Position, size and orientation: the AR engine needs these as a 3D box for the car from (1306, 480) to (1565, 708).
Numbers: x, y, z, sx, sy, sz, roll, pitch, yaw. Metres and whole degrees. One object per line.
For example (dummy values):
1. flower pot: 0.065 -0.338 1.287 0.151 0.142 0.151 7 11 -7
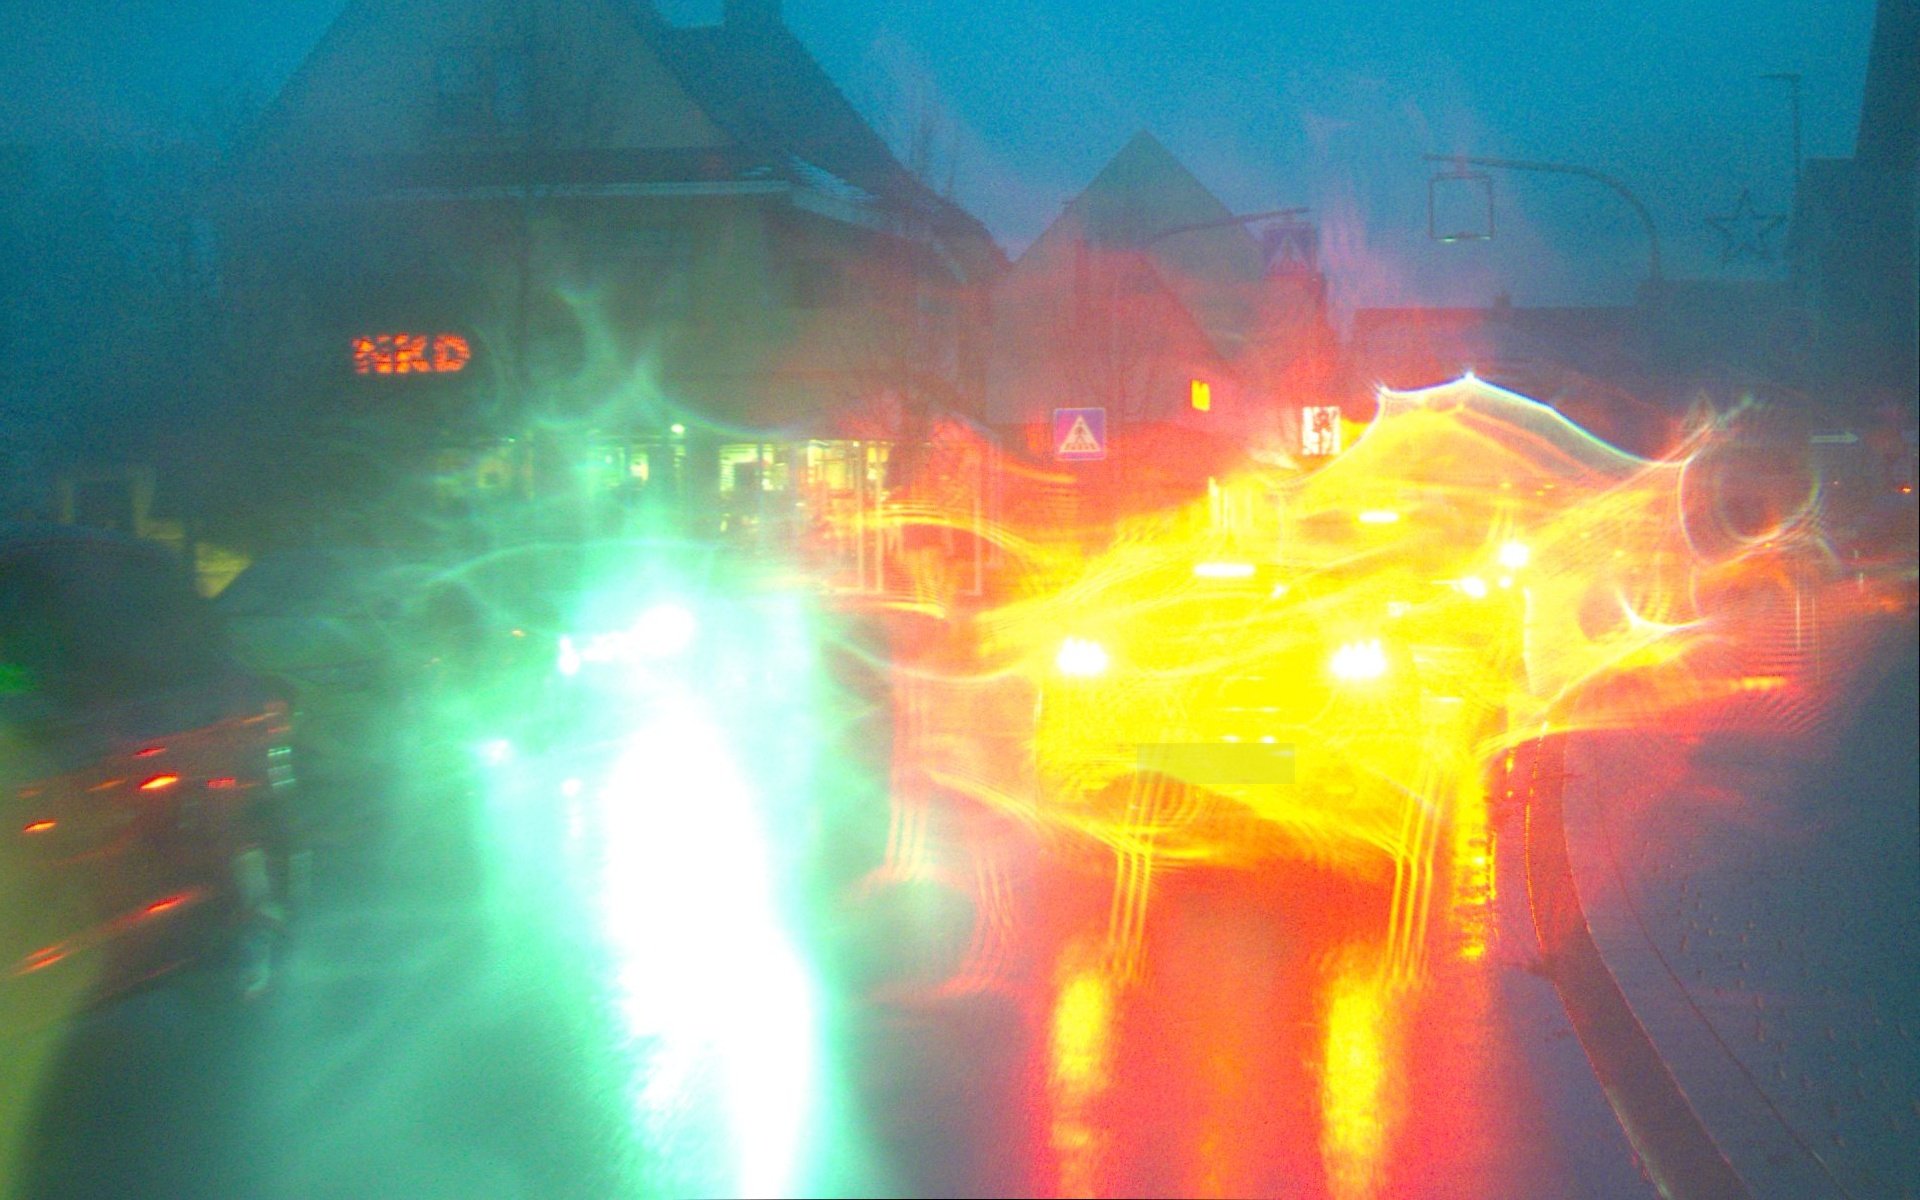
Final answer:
1. car: 3.830 -0.077 27.187 1.798 1.656 3.998 0 1 11

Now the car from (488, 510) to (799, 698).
1. car: -2.706 -0.012 30.251 1.670 1.511 3.998 1 1 11

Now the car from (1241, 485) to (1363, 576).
1. car: 6.923 -1.397 69.197 1.994 1.746 4.359 0 1 12

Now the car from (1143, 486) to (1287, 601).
1. car: 4.681 -1.041 62.578 1.995 2.007 4.359 0 1 13

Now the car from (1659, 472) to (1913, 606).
1. car: 12.658 -0.940 52.716 3.699 2.007 1.688 1 1 14

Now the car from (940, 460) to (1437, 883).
1. car: 1.285 0.242 16.985 1.994 1.789 4.647 -1 2 9

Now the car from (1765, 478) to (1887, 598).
1. car: 15.377 -1.118 61.198 1.642 2.007 3.999 -2 1 8

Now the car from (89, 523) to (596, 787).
1. car: -3.882 0.275 22.394 1.749 1.511 4.340 1 1 12

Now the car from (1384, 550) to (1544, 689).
1. car: 5.554 0.185 38.200 1.650 1.437 3.865 -1 1 7

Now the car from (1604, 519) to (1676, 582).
1. car: 15.986 -1.184 80.934 1.535 1.241 3.646 -5 1 11

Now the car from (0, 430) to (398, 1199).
1. car: -3.171 0.553 8.980 2.141 1.854 4.742 -2 1 6

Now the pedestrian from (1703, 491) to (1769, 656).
1. pedestrian: 8.980 -0.307 39.761 0.664 1.881 0.823 1 1 17
